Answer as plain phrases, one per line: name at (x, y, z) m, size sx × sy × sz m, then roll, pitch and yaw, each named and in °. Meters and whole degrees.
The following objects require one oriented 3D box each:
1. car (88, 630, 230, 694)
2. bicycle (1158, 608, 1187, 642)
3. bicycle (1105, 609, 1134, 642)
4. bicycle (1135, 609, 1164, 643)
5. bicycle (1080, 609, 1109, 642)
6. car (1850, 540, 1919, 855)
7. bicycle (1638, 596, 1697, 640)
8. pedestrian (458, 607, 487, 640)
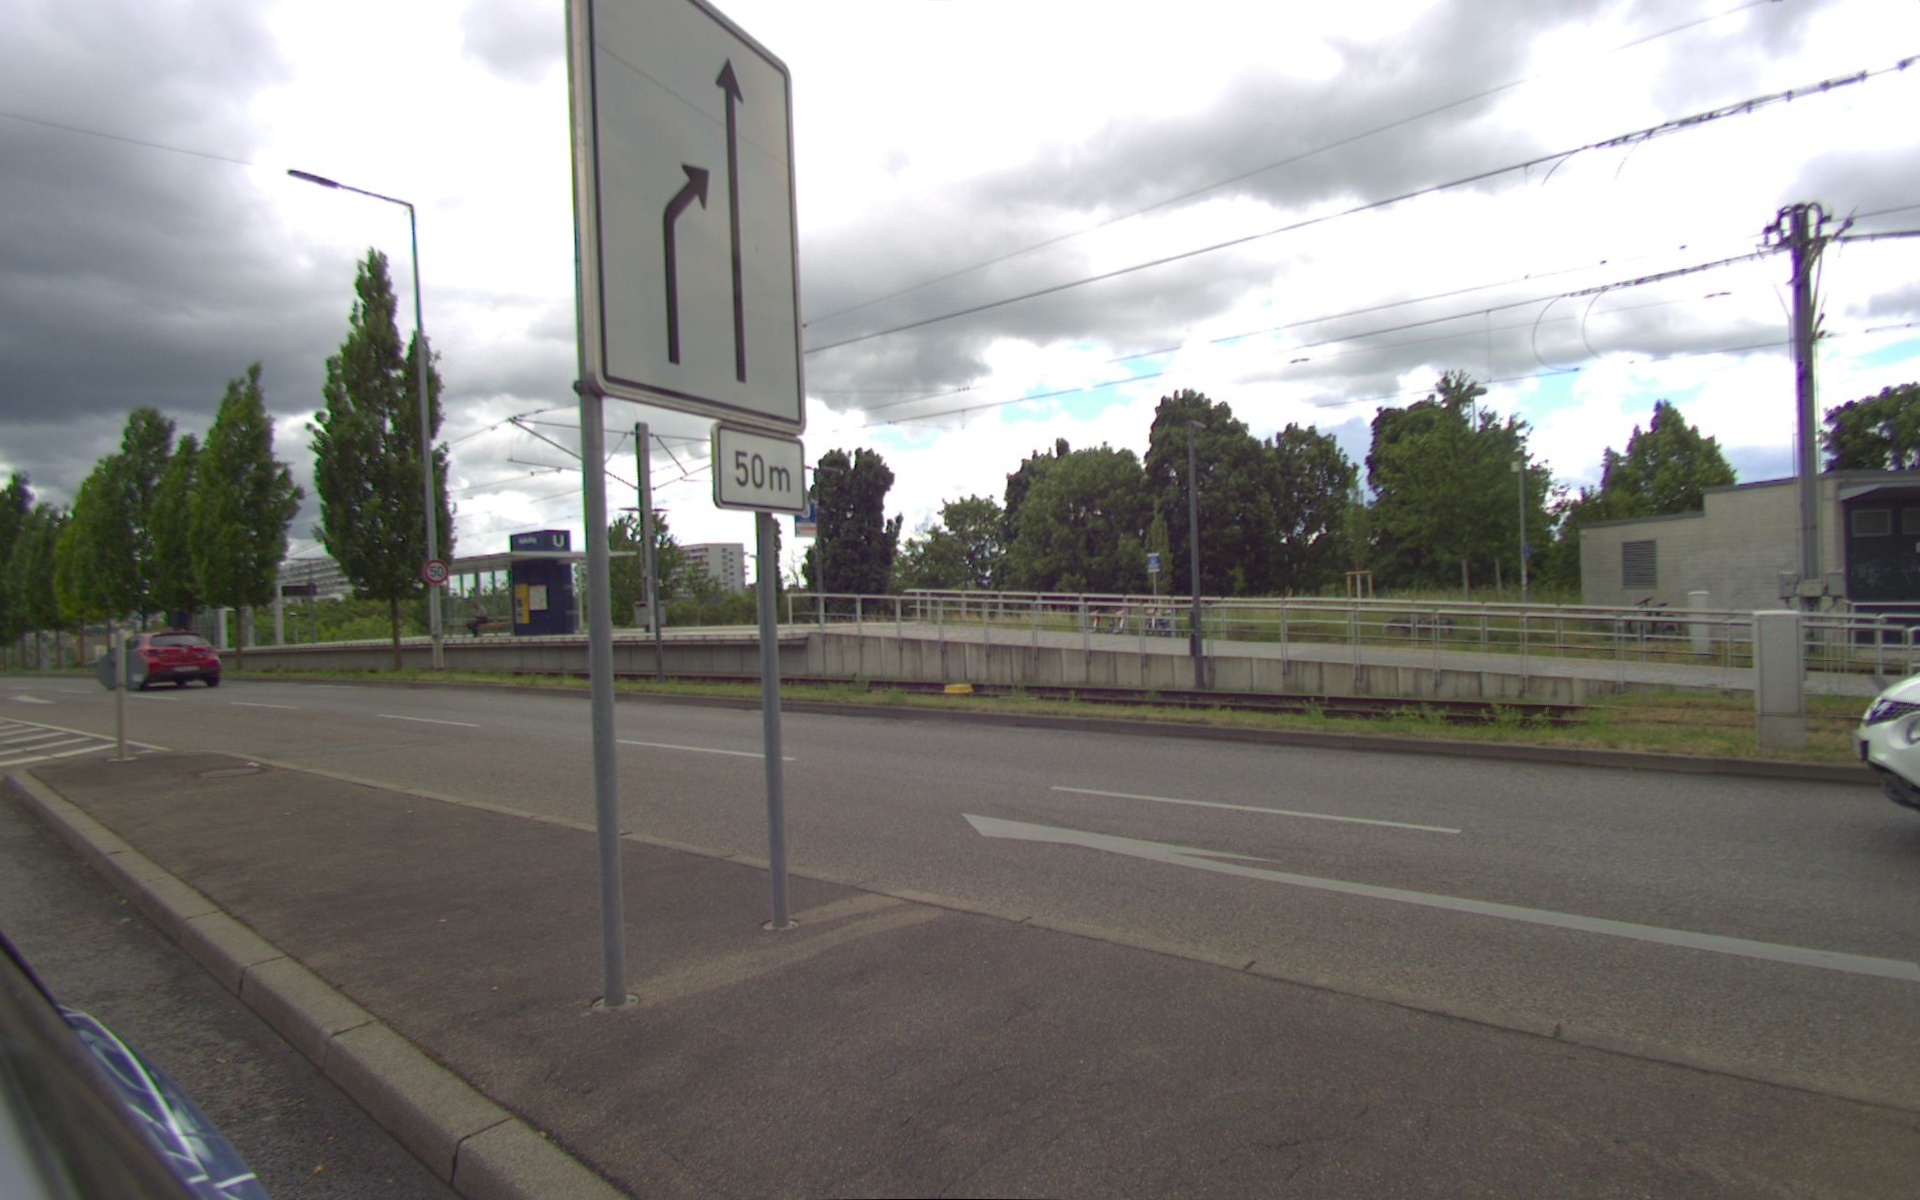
car at (-20.752, 1.569, 26.158) m, size 4.417 × 1.454 × 1.765 m, roll -3°, pitch -1°, yaw 36°
bicycle at (7.041, 0.810, 33.465) m, size 0.490 × 1.095 × 1.466 m, roll -2°, pitch -1°, yaw 30°
bicycle at (5.435, 0.861, 34.457) m, size 0.490 × 1.095 × 1.466 m, roll -2°, pitch -1°, yaw 30°
bicycle at (6.377, 0.855, 33.945) m, size 0.490 × 1.095 × 1.466 m, roll -2°, pitch -1°, yaw 30°
bicycle at (4.678, 0.889, 35.159) m, size 0.490 × 1.095 × 1.466 m, roll -2°, pitch -1°, yaw 30°
car at (7.205, 0.474, 4.713) m, size 4.418 × 1.641 × 1.812 m, roll -1°, pitch -1°, yaw 37°
bicycle at (18.190, 0.452, 26.057) m, size 0.486 × 1.095 × 1.480 m, roll -1°, pitch -1°, yaw 3°
pedestrian at (-18.255, 0.871, 37.871) m, size 0.781 × 1.211 × 0.656 m, roll -2°, pitch -1°, yaw 33°
